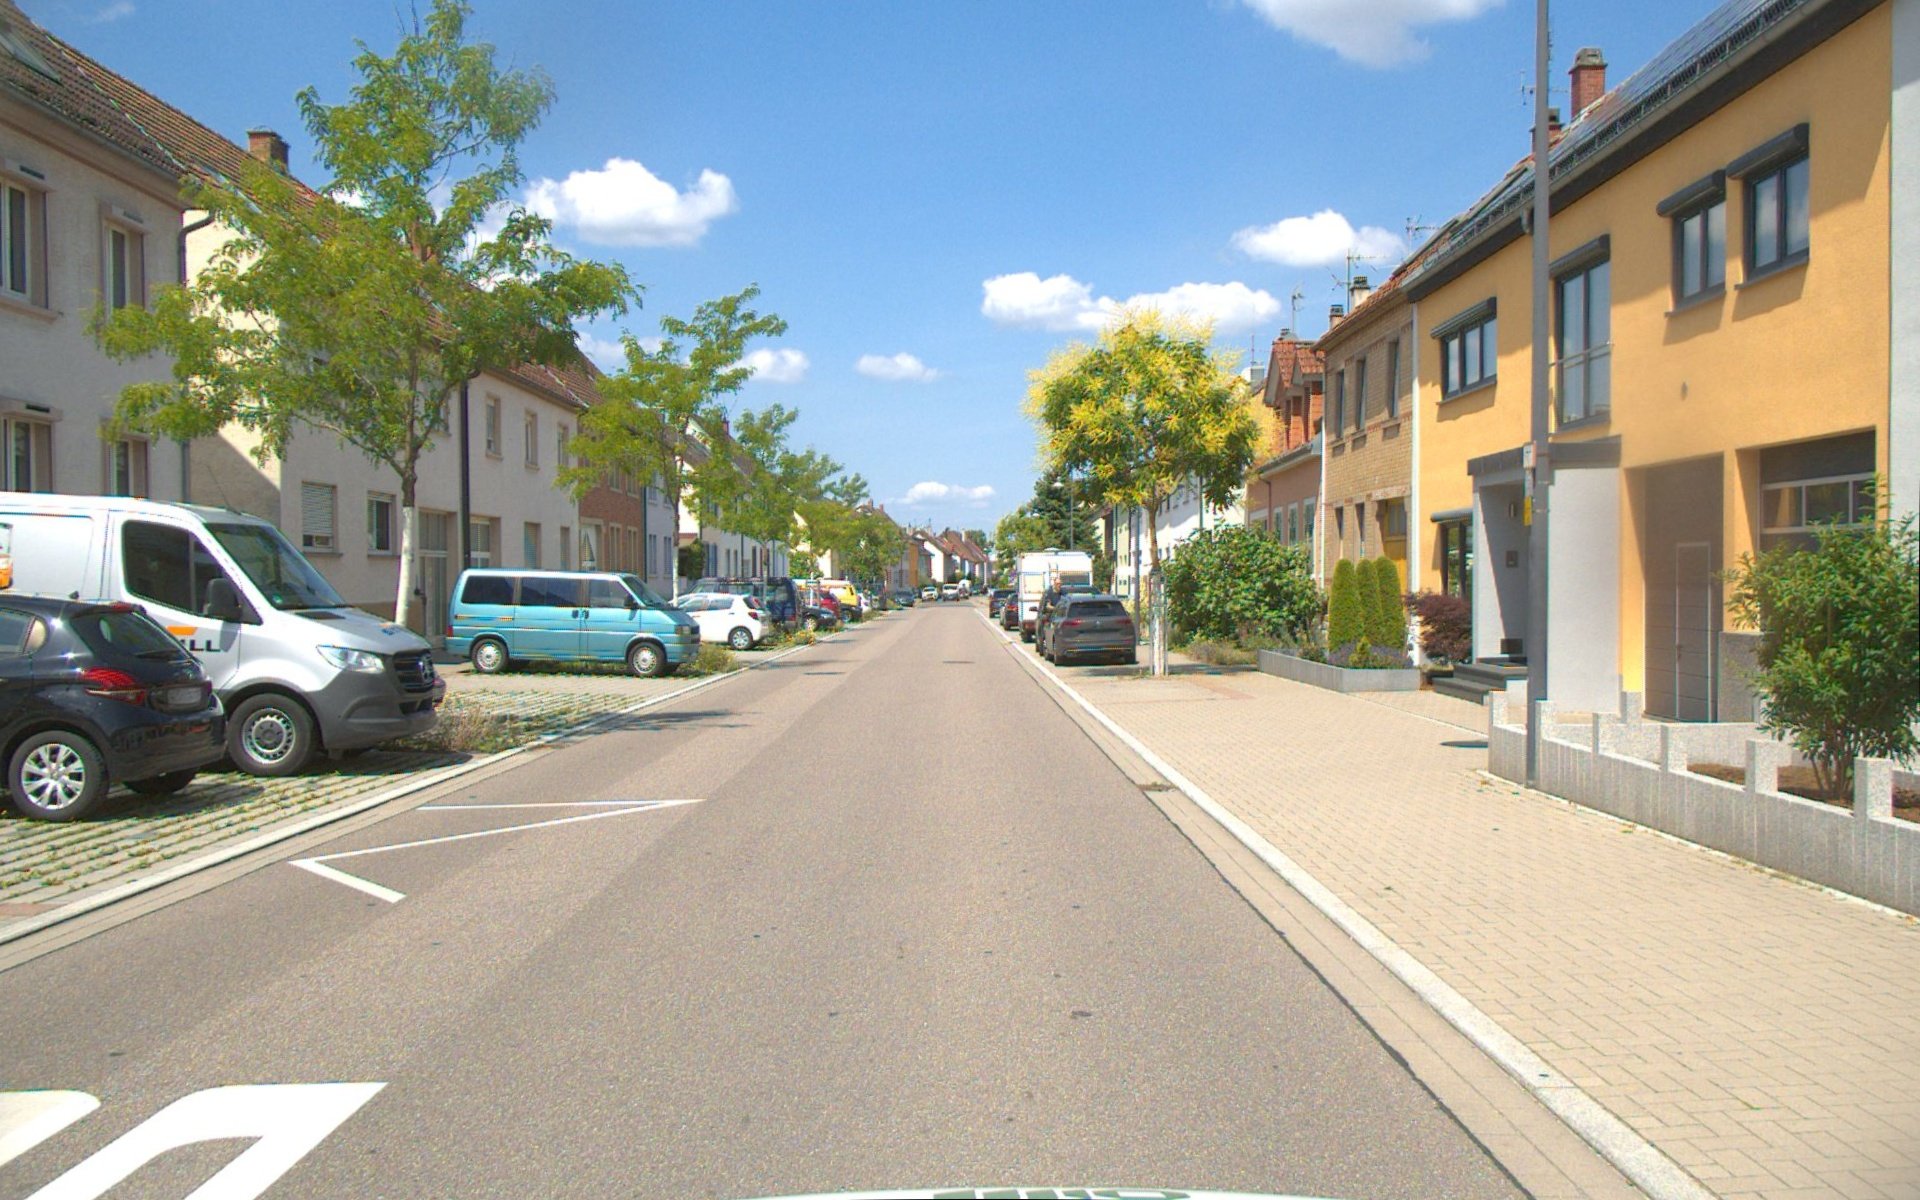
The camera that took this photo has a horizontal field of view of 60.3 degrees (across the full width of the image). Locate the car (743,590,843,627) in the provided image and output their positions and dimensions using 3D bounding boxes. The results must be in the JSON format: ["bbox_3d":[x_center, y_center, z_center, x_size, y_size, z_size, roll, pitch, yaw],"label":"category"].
[{"bbox_3d":[-6.857,0.330,68.134,3.972,1.503,1.775,0,0,-3],"label":"car"}]

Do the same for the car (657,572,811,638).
[{"bbox_3d":[-7.071,0.160,51.969,4.517,2.031,1.953,0,0,1],"label":"car"}]

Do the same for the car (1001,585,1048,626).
[{"bbox_3d":[2.563,0.202,66.728,1.730,1.556,4.007,-1,0,0],"label":"car"}]

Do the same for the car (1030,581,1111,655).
[{"bbox_3d":[2.721,0.404,41.341,1.730,1.734,4.325,-1,0,0],"label":"car"}]

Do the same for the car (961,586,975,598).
[{"bbox_3d":[1.012,-1.104,221.298,1.727,1.549,4.048,-3,1,-1],"label":"car"}]

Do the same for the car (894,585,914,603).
[{"bbox_3d":[-5.202,-0.593,152.650,1.780,1.458,4.138,3,2,-3],"label":"car"}]

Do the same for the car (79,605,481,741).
[{"bbox_3d":[-7.395,0.770,18.249,3.705,1.410,1.725,0,0,0],"label":"car"}]

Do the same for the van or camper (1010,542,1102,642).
[{"bbox_3d":[2.937,-0.276,51.886,2.423,2.859,5.790,-2,1,0],"label":"van or camper"}]

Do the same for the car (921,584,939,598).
[{"bbox_3d":[-3.653,-1.099,201.570,1.811,1.688,4.001,1,0,3],"label":"car"}]

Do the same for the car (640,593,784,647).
[{"bbox_3d":[-7.122,0.572,47.690,3.835,1.514,1.773,0,0,1],"label":"car"}]

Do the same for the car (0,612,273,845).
[{"bbox_3d":[-7.169,0.852,11.587,3.907,1.471,1.900,-1,0,-3],"label":"car"}]

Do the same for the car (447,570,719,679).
[{"bbox_3d":[-6.954,0.444,30.864,4.581,1.940,2.000,0,0,0],"label":"car"}]

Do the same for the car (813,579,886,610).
[{"bbox_3d":[-7.186,-0.334,107.558,4.604,1.957,1.937,0,0,-1],"label":"car"}]

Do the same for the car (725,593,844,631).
[{"bbox_3d":[-6.813,0.464,64.383,4.431,1.450,1.795,0,0,-1],"label":"car"}]

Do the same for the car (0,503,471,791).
[{"bbox_3d":[-7.134,0.372,14.496,5.062,2.328,2.156,0,0,-2],"label":"car"}]

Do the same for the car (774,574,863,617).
[{"bbox_3d":[-7.275,-0.245,85.470,4.416,2.215,1.925,0,0,0],"label":"car"}]

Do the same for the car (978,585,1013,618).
[{"bbox_3d":[2.033,0.073,94.157,1.825,1.663,4.448,-3,1,2],"label":"car"}]

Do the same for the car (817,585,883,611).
[{"bbox_3d":[-6.977,-0.109,104.826,4.100,1.596,1.772,0,0,-4],"label":"car"}]

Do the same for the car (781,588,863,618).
[{"bbox_3d":[-6.906,0.152,82.918,3.928,1.485,1.755,0,0,0],"label":"car"}]

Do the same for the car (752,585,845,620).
[{"bbox_3d":[-7.540,0.118,77.487,4.166,1.639,1.842,0,0,-1],"label":"car"}]

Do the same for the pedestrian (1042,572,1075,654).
[{"bbox_3d":[2.296,0.307,38.604,0.702,1.885,0.578,-1,0,0],"label":"pedestrian"}]

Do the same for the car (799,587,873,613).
[{"bbox_3d":[-7.307,-0.007,97.945,4.206,1.493,1.774,0,0,1],"label":"car"}]

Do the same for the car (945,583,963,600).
[{"bbox_3d":[-0.701,-0.966,192.923,1.981,1.984,4.897,-1,0,-1],"label":"car"}]

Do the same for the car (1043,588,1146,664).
[{"bbox_3d":[2.839,0.514,35.773,1.731,1.514,4.295,-1,0,-2],"label":"car"}]

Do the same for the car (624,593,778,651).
[{"bbox_3d":[-6.975,0.578,44.780,3.835,1.514,1.773,0,0,1],"label":"car"}]
